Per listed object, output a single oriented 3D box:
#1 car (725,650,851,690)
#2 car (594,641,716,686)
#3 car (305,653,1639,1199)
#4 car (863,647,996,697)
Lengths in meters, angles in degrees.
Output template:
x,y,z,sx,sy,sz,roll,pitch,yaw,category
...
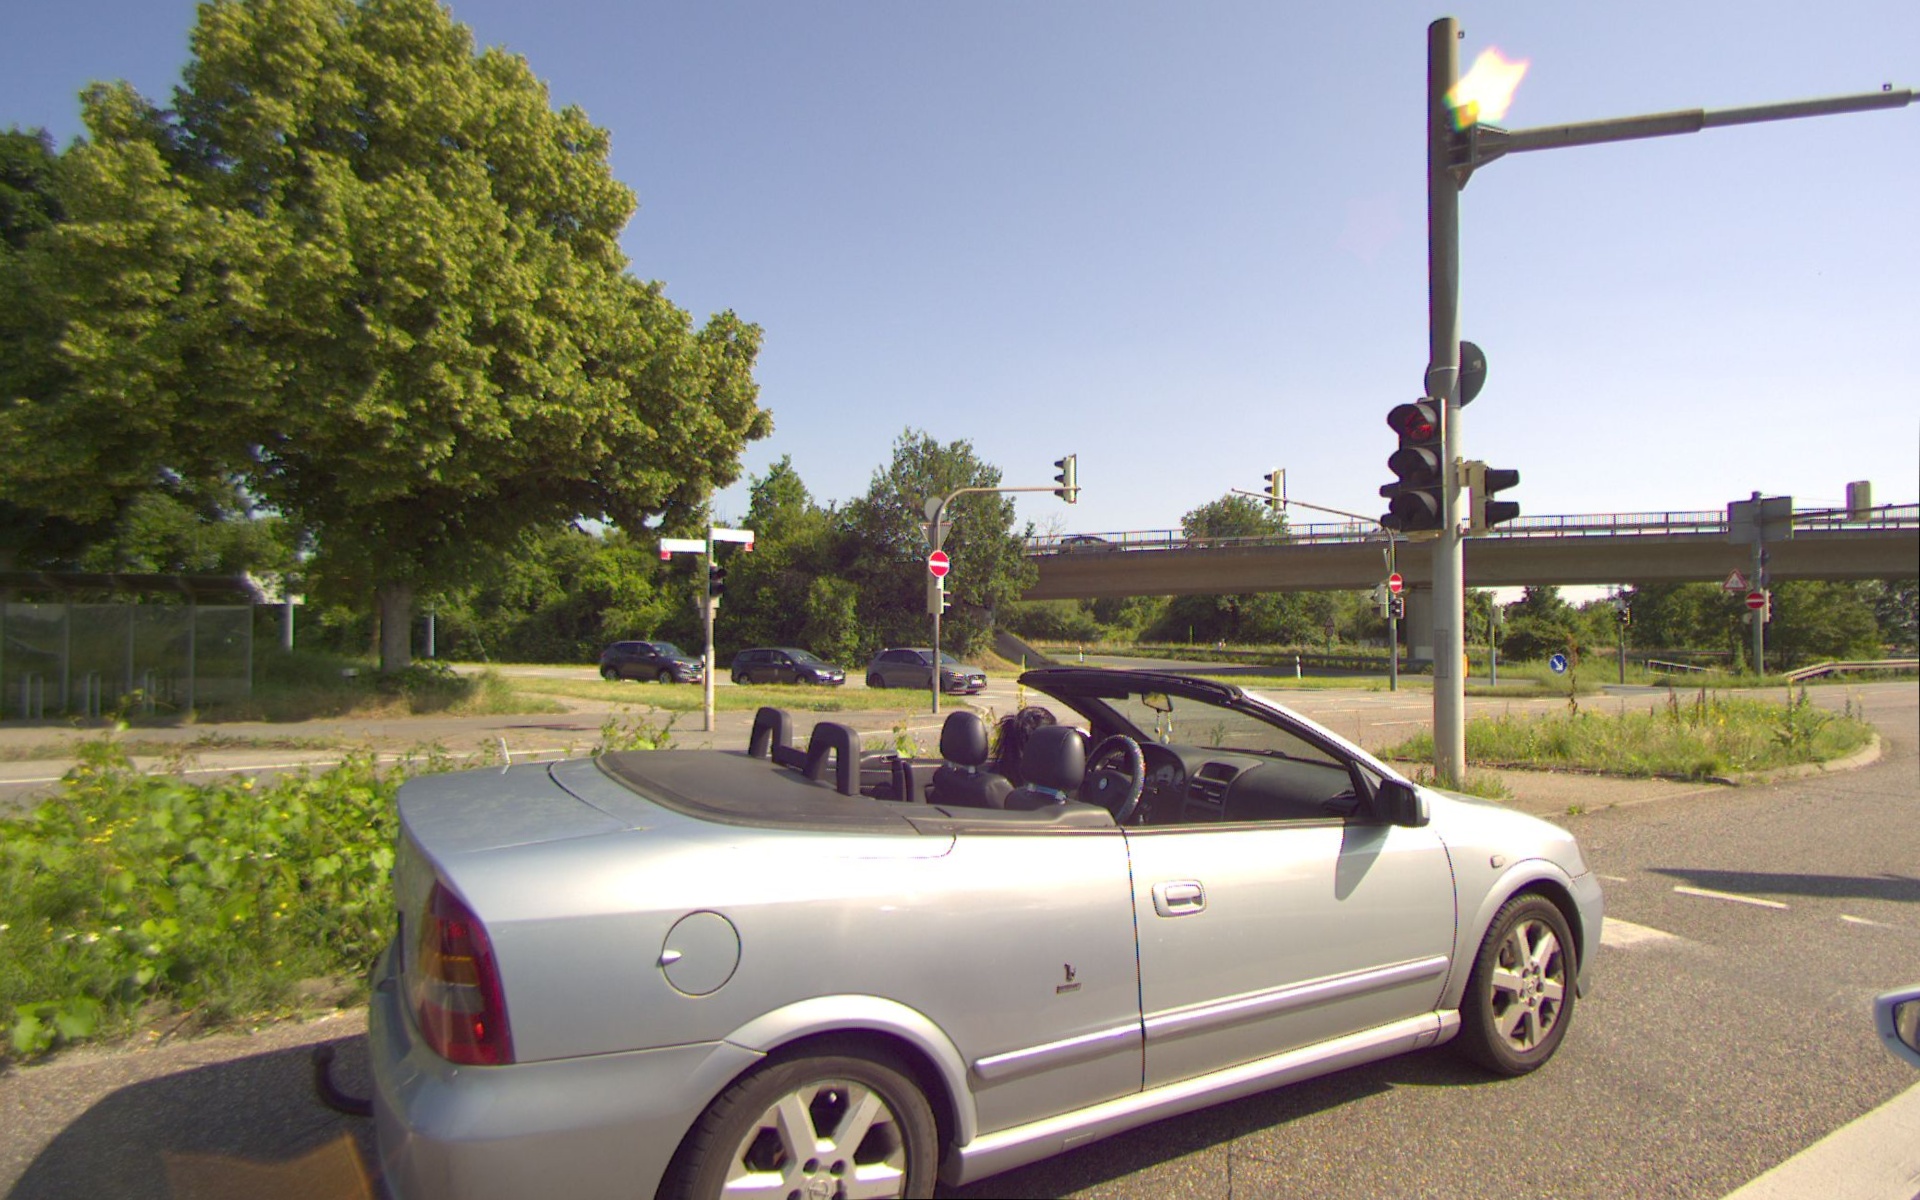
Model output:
x,y,z,sx,sy,sz,roll,pitch,yaw,category
-6.025,2.418,35.117,4.276,1.297,1.648,-1,-2,30,car
-11.422,2.326,37.618,4.270,1.616,1.651,-1,-2,22,car
0.299,0.872,3.355,4.049,1.352,1.666,1,-3,-30,car
-1.011,2.237,31.913,4.066,1.443,1.862,-2,-3,41,car
